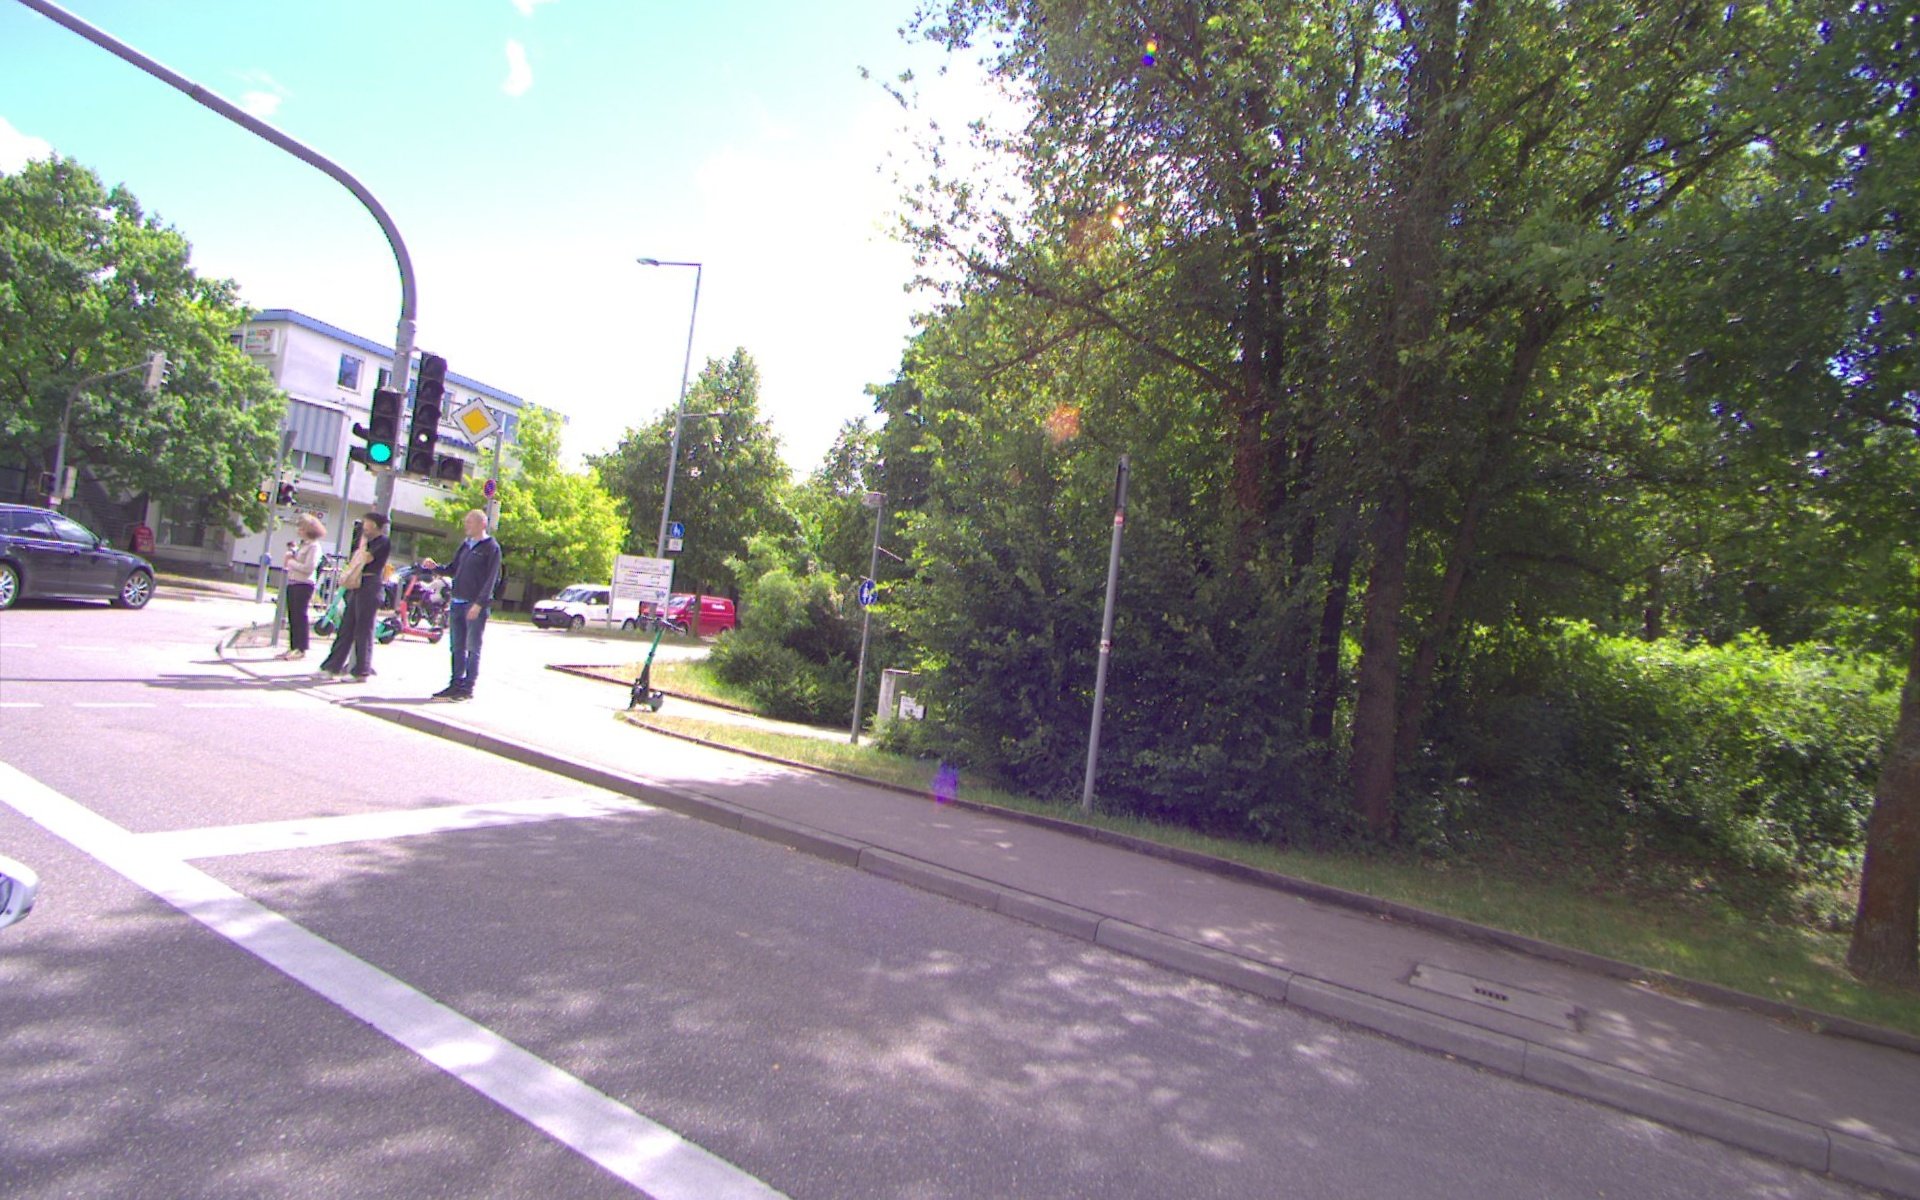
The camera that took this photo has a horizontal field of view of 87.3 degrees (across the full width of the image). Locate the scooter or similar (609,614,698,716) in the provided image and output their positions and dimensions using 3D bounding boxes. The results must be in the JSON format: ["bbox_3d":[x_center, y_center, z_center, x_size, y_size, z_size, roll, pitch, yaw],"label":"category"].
[{"bbox_3d":[-4.220,0.906,13.907,0.447,1.242,0.893,7,-6,33],"label":"scooter or similar"}]

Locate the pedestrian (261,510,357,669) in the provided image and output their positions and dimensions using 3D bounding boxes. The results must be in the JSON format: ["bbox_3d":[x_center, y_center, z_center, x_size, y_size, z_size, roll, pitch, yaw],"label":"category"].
[{"bbox_3d":[-7.737,-0.120,11.964,0.510,1.787,0.636,7,-1,39],"label":"pedestrian"}]

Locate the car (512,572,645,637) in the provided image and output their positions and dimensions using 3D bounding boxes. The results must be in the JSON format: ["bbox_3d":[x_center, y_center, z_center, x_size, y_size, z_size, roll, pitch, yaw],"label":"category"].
[{"bbox_3d":[-14.045,0.217,37.321,1.964,1.784,4.387,7,-2,24],"label":"car"}]

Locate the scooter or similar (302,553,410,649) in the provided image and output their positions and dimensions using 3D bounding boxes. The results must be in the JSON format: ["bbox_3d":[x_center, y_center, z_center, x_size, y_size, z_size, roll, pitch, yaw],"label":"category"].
[{"bbox_3d":[-8.846,0.026,14.755,0.531,1.249,1.111,7,-1,35],"label":"scooter or similar"}]

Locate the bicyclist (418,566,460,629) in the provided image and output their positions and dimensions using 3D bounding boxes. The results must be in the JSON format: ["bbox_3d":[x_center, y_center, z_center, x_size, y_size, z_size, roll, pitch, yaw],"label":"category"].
[{"bbox_3d":[-10.433,-0.042,20.140,0.394,1.170,0.501,7,-1,38],"label":"bicyclist"}]

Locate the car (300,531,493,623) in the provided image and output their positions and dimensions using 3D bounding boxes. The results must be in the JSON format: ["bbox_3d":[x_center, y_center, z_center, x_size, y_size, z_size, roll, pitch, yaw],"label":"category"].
[{"bbox_3d":[-16.762,-0.621,30.204,1.964,2.036,4.551,7,-2,26],"label":"car"}]

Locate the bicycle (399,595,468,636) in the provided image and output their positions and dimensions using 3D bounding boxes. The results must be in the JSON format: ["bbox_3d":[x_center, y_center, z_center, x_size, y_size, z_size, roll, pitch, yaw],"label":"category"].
[{"bbox_3d":[-10.595,0.300,20.223,1.566,0.617,0.533,7,-2,36],"label":"bicycle"}]

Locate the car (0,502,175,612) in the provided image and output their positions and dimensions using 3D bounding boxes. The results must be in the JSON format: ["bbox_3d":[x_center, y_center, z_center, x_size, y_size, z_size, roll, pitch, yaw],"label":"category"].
[{"bbox_3d":[-13.841,-0.674,14.513,1.875,1.438,4.533,8,-2,-9],"label":"car"}]

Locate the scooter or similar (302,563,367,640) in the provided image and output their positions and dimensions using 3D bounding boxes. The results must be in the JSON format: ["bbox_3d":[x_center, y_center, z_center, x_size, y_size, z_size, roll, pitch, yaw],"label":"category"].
[{"bbox_3d":[-10.013,0.008,16.097,0.546,1.076,1.247,8,-1,-43],"label":"scooter or similar"}]

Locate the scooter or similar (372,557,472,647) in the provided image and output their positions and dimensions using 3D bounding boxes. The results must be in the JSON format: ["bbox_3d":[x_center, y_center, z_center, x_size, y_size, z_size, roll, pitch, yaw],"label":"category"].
[{"bbox_3d":[-8.730,0.048,16.350,0.546,1.286,1.152,7,-3,35],"label":"scooter or similar"}]

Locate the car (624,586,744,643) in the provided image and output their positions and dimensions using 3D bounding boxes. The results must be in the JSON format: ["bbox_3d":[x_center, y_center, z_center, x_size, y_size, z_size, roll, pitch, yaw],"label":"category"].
[{"bbox_3d":[-11.582,0.667,42.647,1.964,1.820,4.979,7,-2,25],"label":"car"}]

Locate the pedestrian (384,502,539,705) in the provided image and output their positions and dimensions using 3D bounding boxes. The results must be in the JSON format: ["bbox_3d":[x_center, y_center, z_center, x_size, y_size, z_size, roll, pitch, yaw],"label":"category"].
[{"bbox_3d":[-5.078,0.057,10.320,0.783,1.897,1.014,7,-1,6],"label":"pedestrian"}]

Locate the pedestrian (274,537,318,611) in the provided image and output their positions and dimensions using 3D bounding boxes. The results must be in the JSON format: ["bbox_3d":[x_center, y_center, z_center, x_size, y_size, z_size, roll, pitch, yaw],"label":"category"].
[{"bbox_3d":[-16.555,-0.648,25.090,0.653,1.730,0.458,10,-5,-31],"label":"pedestrian"}]

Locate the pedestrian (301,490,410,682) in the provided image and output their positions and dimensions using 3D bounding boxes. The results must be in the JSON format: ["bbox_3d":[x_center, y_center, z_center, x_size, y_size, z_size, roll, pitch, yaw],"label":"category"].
[{"bbox_3d":[-6.326,-0.139,10.535,0.510,1.898,0.636,7,-1,39],"label":"pedestrian"}]
